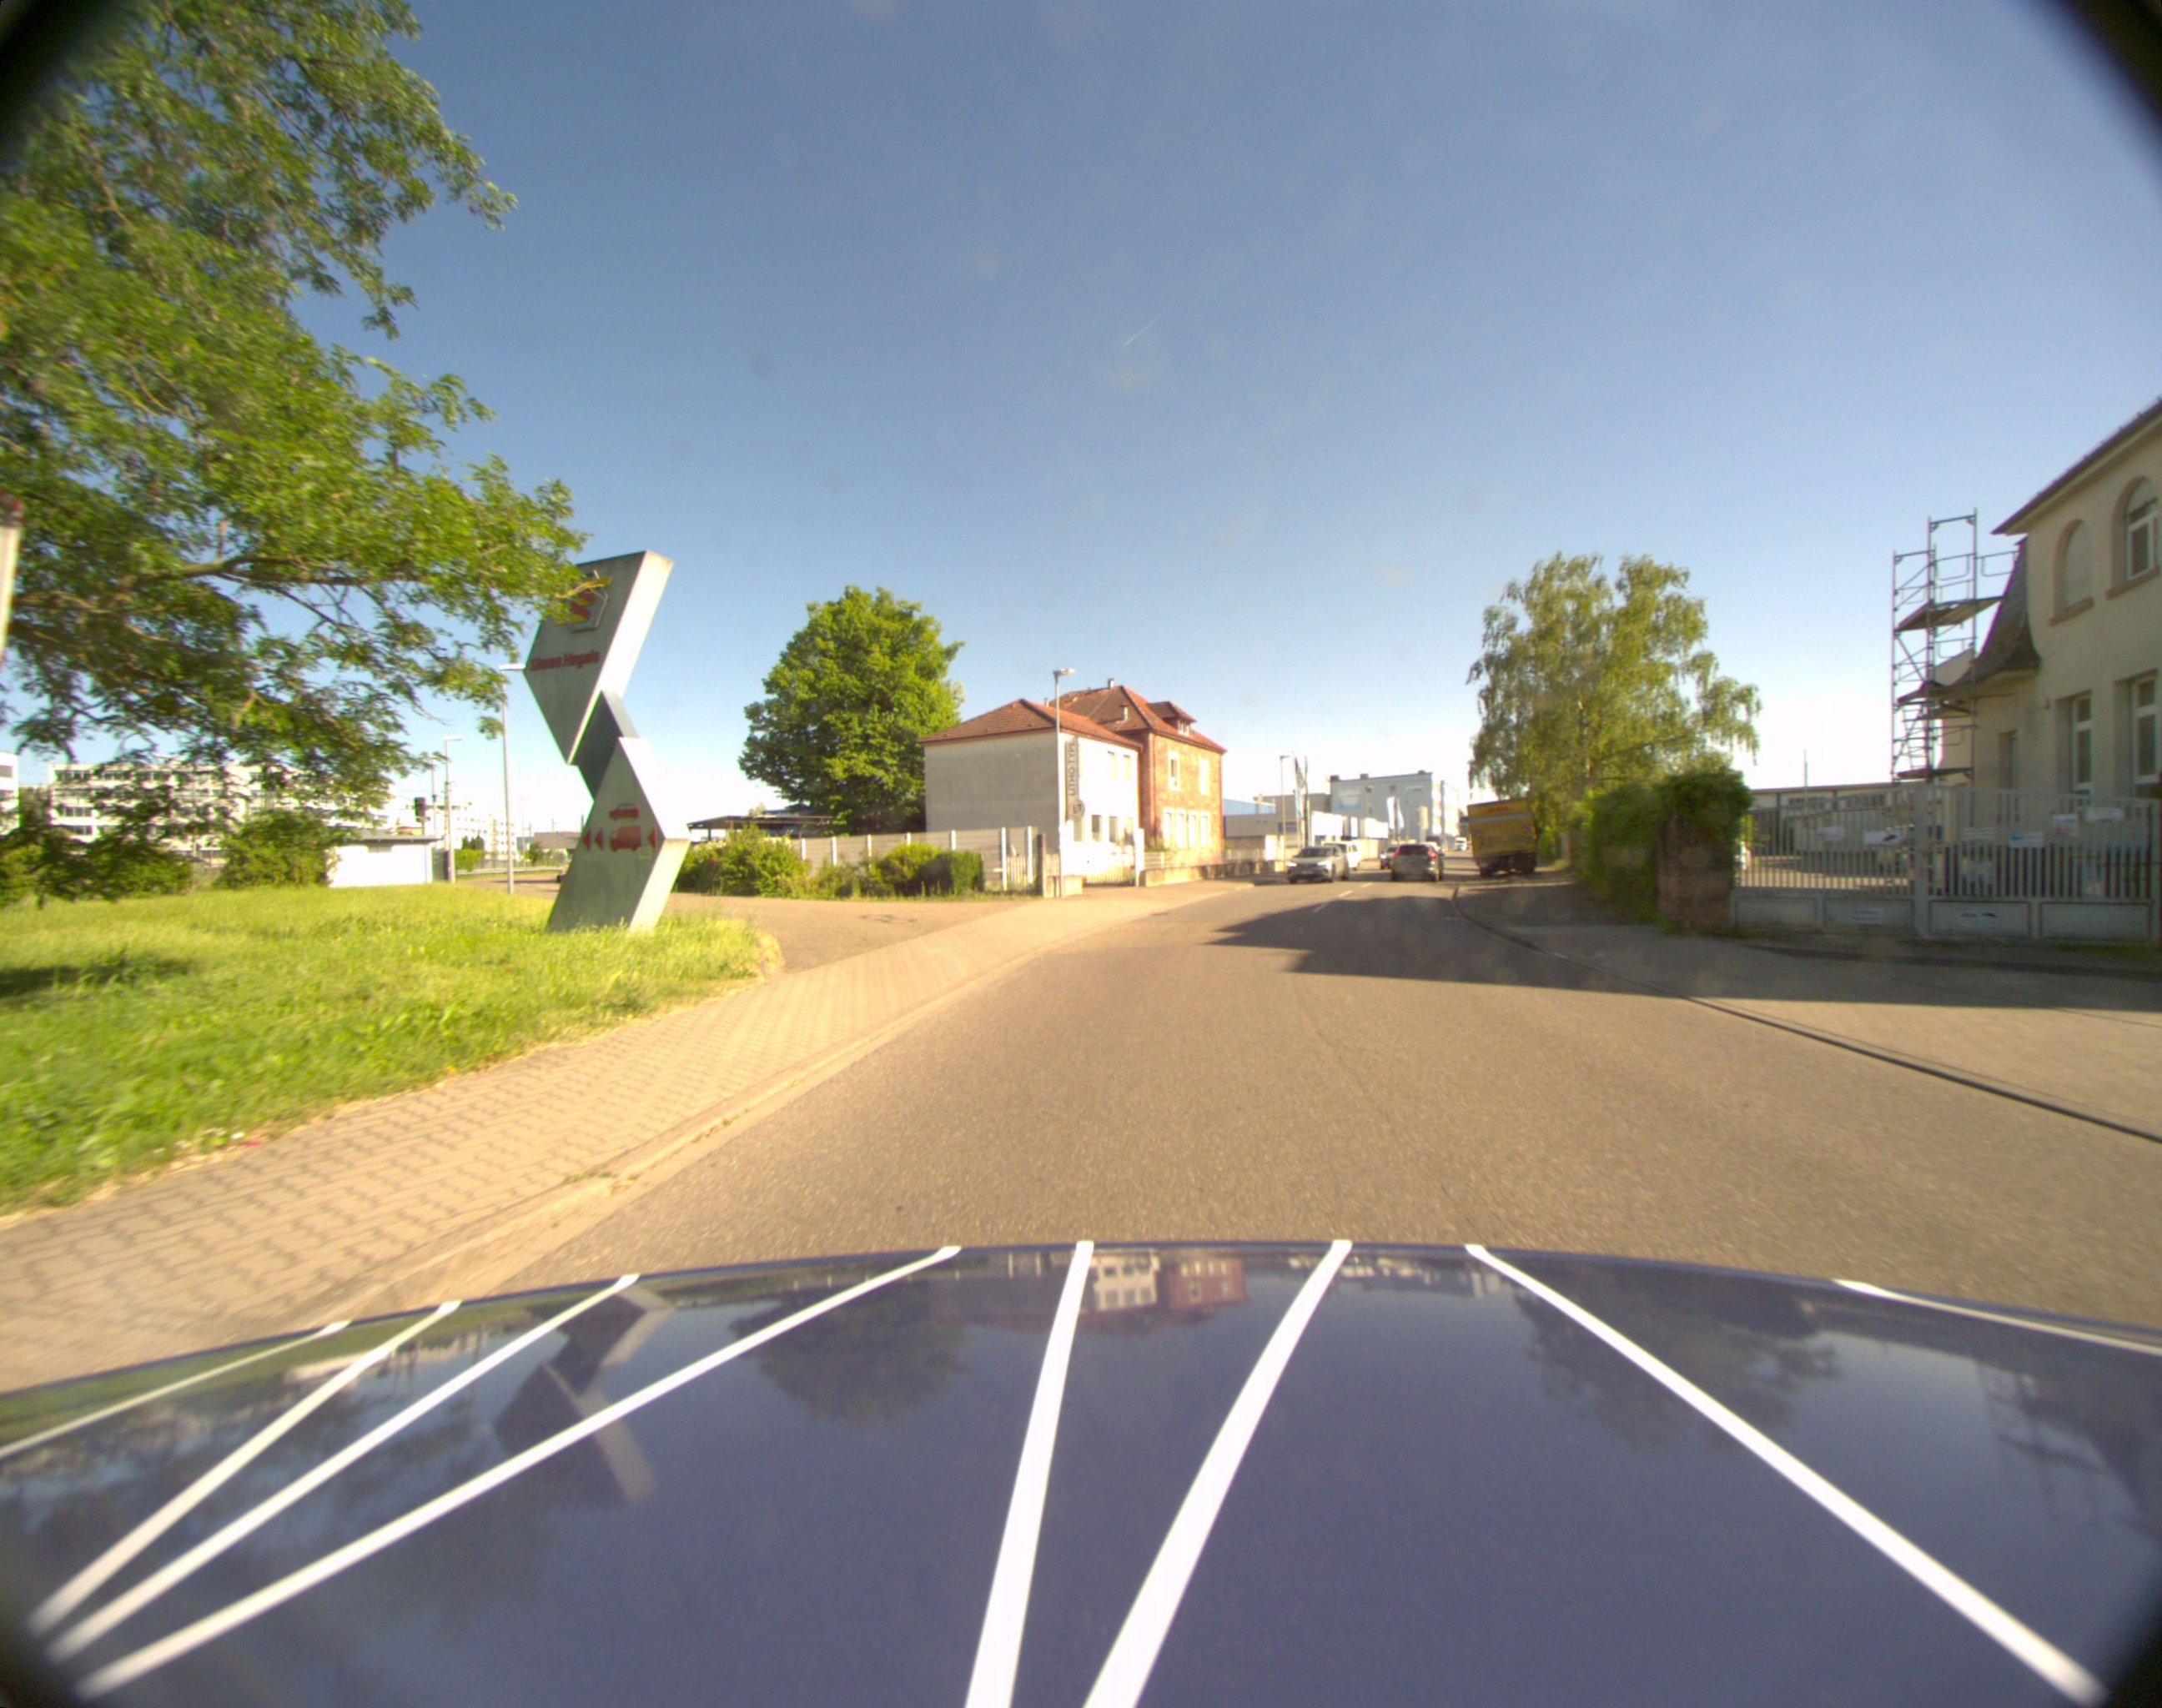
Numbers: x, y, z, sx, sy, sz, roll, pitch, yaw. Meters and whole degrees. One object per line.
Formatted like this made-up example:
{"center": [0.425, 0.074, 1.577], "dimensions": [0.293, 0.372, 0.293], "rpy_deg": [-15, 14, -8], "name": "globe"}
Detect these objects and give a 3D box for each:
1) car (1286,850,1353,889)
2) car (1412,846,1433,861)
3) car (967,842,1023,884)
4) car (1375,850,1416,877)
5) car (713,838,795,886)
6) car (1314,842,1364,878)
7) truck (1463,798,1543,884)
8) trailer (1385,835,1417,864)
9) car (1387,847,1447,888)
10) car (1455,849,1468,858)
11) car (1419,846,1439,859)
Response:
{"center": [10.526, 0.632, 33.379], "dimensions": [1.846, 1.621, 4.304], "rpy_deg": [0, 0, 31], "name": "car"}
{"center": [40.443, -0.039, 89.880], "dimensions": [1.846, 1.695, 4.303], "rpy_deg": [0, 0, 30], "name": "car"}
{"center": [-3.936, 0.372, 34.063], "dimensions": [2.001, 1.767, 4.360], "rpy_deg": [0, 0, -13], "name": "car"}
{"center": [20.249, 0.579, 48.853], "dimensions": [1.846, 1.621, 4.304], "rpy_deg": [0, 0, 31], "name": "car"}
{"center": [-18.194, 0.432, 42.206], "dimensions": [5.019, 2.526, 1.842], "rpy_deg": [0, 1, 35], "name": "car"}
{"center": [16.163, 0.356, 47.475], "dimensions": [1.847, 2.001, 4.724], "rpy_deg": [-4, -2, 31], "name": "car"}
{"center": [20.926, -0.565, 37.583], "dimensions": [2.844, 3.597, 8.022], "rpy_deg": [-6, -3, 30], "name": "truck"}
{"center": [31.370, -0.430, 74.414], "dimensions": [2.157, 2.701, 4.205], "rpy_deg": [0, 0, 32], "name": "trailer"}
{"center": [14.876, 0.558, 33.513], "dimensions": [1.994, 1.686, 4.574], "rpy_deg": [0, 0, 29], "name": "car"}
{"center": [71.684, -0.049, 143.161], "dimensions": [1.846, 1.621, 4.303], "rpy_deg": [0, 0, 30], "name": "car"}
{"center": [44.010, -0.149, 96.002], "dimensions": [1.846, 1.621, 4.303], "rpy_deg": [0, 0, 30], "name": "car"}
